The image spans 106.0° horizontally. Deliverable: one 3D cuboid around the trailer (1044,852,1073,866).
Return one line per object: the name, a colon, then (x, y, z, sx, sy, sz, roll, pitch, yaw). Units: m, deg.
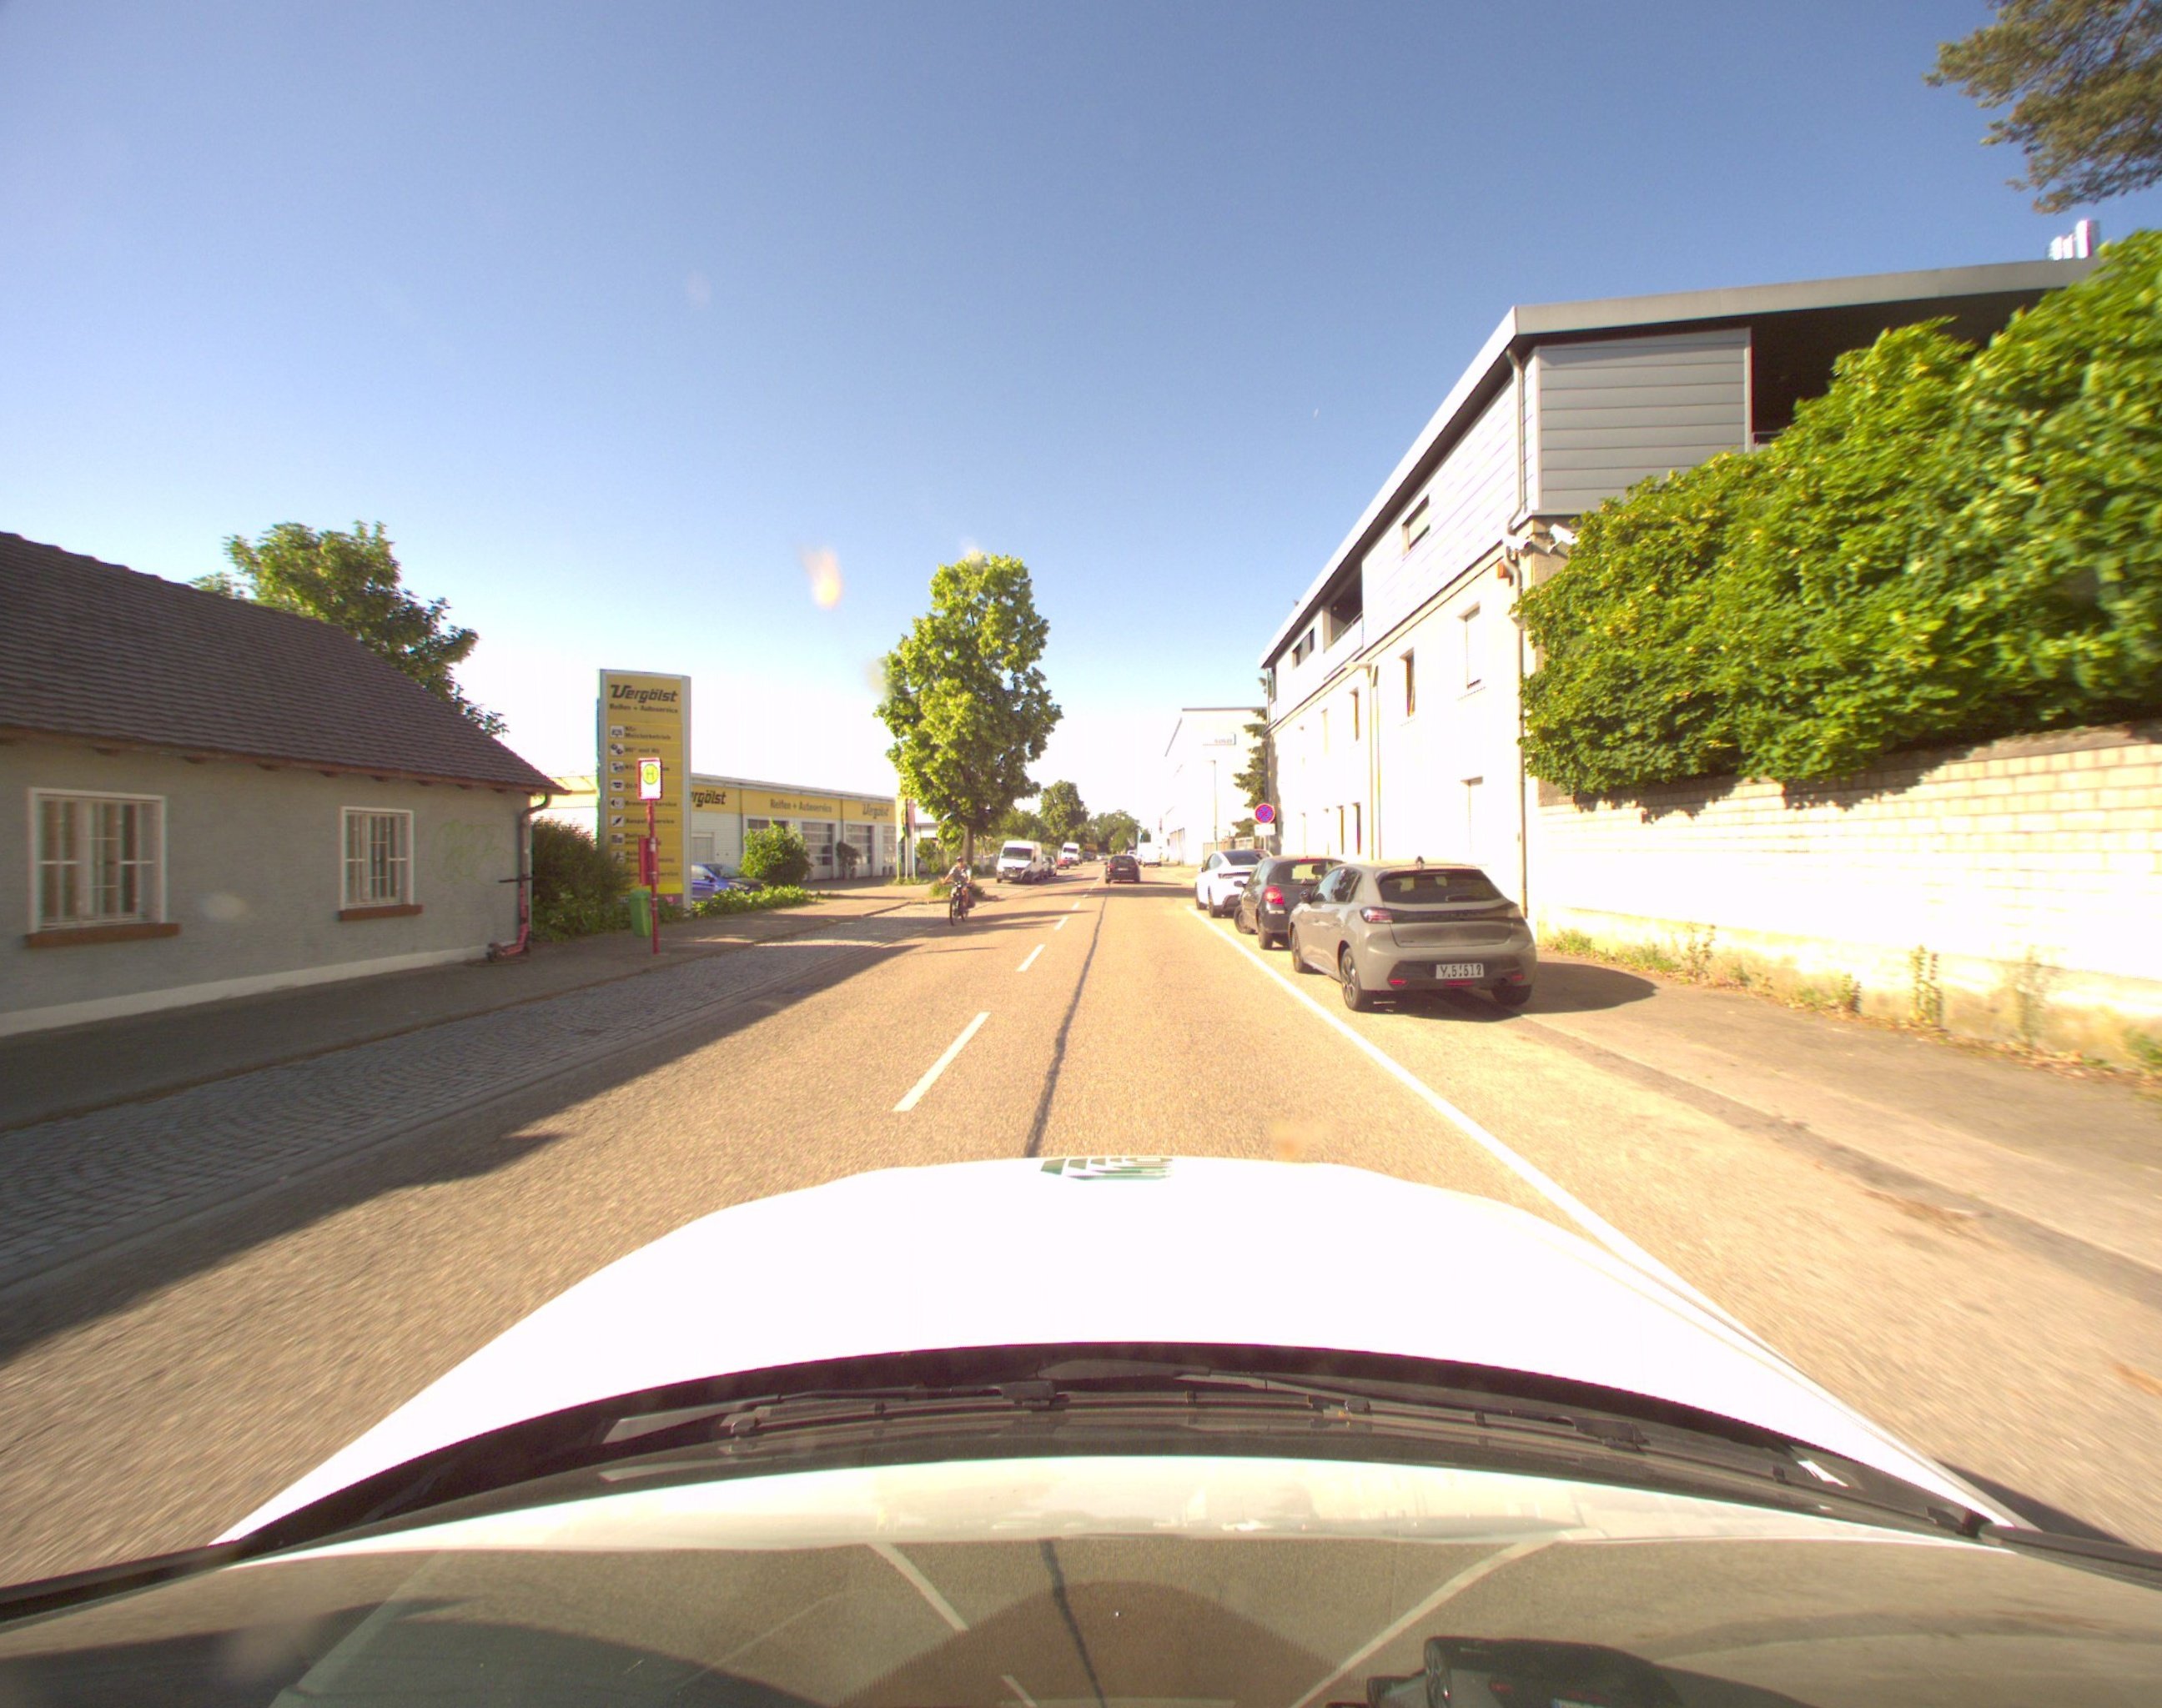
trailer: (-2.134, 0.436, 78.798, 2.367, 1.080, 6.249, 2, 1, 2)

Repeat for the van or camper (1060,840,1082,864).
van or camper: (-1.123, -0.238, 97.492, 1.957, 2.685, 5.954, 4, 1, 4)

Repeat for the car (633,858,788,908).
car: (-12.117, 0.930, 26.711, 4.312, 1.508, 2.009, -1, 0, 16)

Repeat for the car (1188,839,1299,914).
car: (4.006, 0.491, 20.880, 1.925, 1.644, 4.770, -2, 0, 1)

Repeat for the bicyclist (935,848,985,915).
bicyclist: (-2.986, 0.672, 20.182, 0.835, 1.542, 1.138, -5, -1, 5)

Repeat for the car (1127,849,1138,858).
car: (10.168, -0.125, 161.706, 1.879, 1.797, 5.105, 0, 0, 1)

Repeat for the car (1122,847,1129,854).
car: (12.365, -0.974, 228.226, 1.867, 2.013, 5.164, 0, 0, 3)

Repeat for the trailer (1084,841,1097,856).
trailer: (2.322, -1.240, 190.977, 2.981, 3.443, 8.163, -1, 0, 1)

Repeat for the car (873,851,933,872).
car: (-14.022, 0.582, 64.115, 4.130, 1.574, 1.923, -1, 0, 12)

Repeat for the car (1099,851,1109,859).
car: (4.332, 0.134, 151.014, 1.740, 1.447, 4.363, -1, 0, 2)

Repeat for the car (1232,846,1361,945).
car: (3.687, 0.613, 14.565, 1.591, 1.473, 4.197, -2, 0, 6)

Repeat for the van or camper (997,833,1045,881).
van or camper: (-3.494, 0.133, 48.655, 2.062, 2.549, 6.407, 2, 1, 2)

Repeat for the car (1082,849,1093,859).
car: (1.248, -0.045, 150.306, 1.784, 1.730, 4.807, -2, 0, 4)

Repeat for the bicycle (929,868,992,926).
bicycle: (-2.945, 1.023, 20.247, 0.835, 1.239, 2.608, -5, -1, 5)

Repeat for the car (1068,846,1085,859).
car: (-0.589, -0.209, 110.676, 2.023, 1.694, 5.108, 2, 1, 1)

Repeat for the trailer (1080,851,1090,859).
trailer: (0.698, 0.191, 131.886, 1.471, 1.354, 3.080, 0, 0, 2)

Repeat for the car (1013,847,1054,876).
car: (-3.132, 0.477, 54.203, 1.984, 1.738, 4.582, 2, 1, 5)

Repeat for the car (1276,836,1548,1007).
car: (3.491, 0.601, 9.421, 1.652, 1.505, 4.035, -2, 0, 3)

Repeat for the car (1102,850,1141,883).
car: (2.087, 0.602, 42.043, 1.839, 1.530, 4.003, -2, 0, 3)

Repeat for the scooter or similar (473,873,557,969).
scooter or similar: (-8.294, 0.942, 11.992, 0.482, 1.270, 1.570, -1, 0, -15)

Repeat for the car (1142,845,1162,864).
car: (6.954, 0.048, 79.969, 1.881, 1.832, 5.096, -1, 0, 4)

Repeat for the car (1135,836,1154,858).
car: (8.224, -0.941, 105.756, 1.986, 2.597, 6.053, -3, 1, 1)

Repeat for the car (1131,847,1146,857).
car: (8.234, -0.281, 117.373, 1.887, 1.405, 5.126, 0, 0, 2)

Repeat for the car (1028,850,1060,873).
car: (-2.660, 0.510, 59.475, 1.792, 1.510, 5.006, 2, 1, 3)
